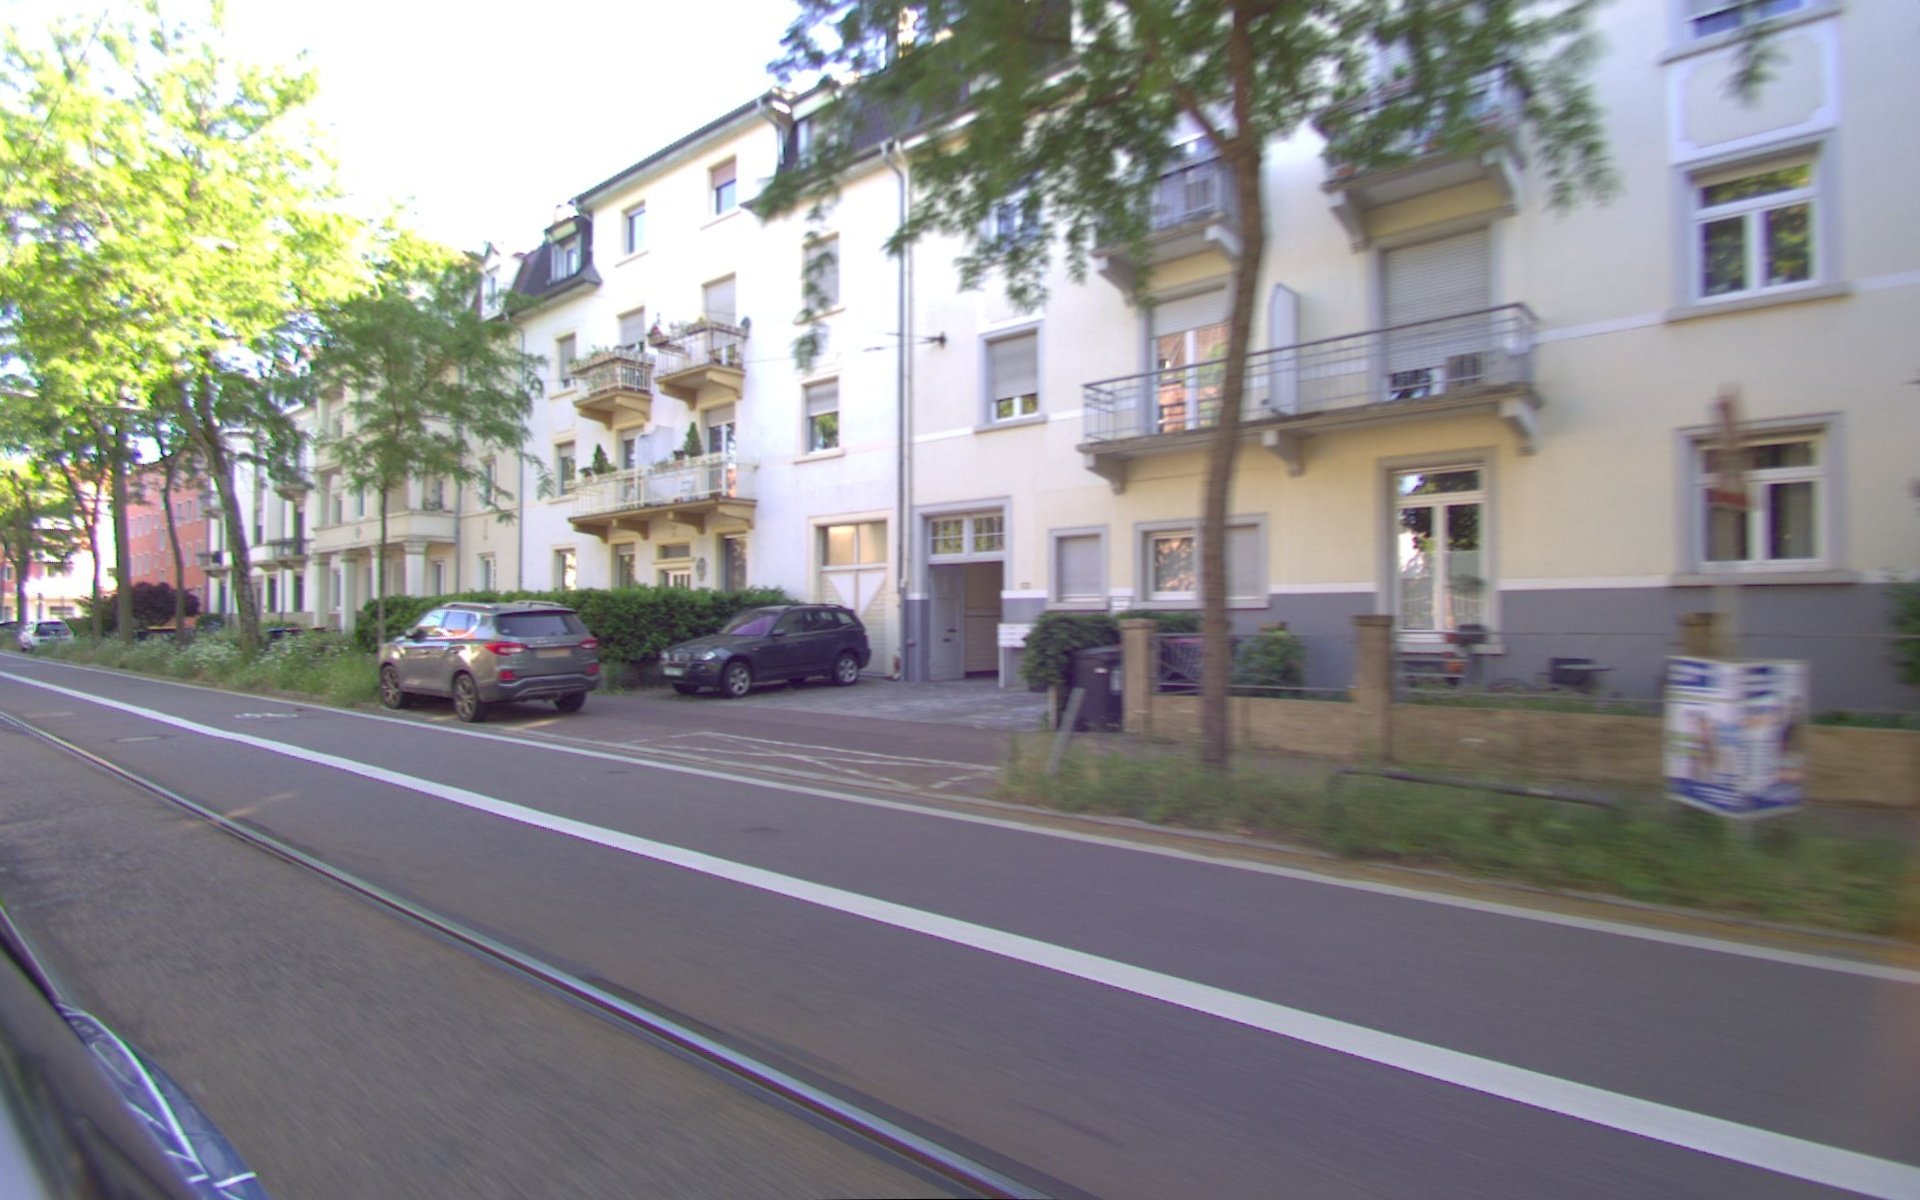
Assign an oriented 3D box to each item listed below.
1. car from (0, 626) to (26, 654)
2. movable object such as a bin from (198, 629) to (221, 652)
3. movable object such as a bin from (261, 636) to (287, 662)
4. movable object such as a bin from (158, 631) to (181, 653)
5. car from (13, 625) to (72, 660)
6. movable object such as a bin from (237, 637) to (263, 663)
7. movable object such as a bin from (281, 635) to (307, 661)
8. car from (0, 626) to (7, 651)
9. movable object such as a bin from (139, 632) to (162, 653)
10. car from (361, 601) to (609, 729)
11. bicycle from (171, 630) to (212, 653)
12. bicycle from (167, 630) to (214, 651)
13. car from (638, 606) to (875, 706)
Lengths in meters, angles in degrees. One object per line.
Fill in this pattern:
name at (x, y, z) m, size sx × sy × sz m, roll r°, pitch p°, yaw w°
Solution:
car at (-53.084, 2.207, 56.076) m, size 3.666 × 1.465 × 1.538 m, roll -1°, pitch -1°, yaw 41°
movable object such as a bin at (-38.561, 2.074, 52.002) m, size 0.895 × 1.122 × 0.730 m, roll -1°, pitch -2°, yaw 41°
movable object such as a bin at (-25.320, 1.799, 37.344) m, size 0.739 × 0.928 × 0.621 m, roll -1°, pitch -1°, yaw 41°
movable object such as a bin at (-39.625, 2.091, 50.715) m, size 0.895 × 1.062 × 0.730 m, roll -1°, pitch -2°, yaw 41°
car at (-44.064, 2.015, 48.583) m, size 3.686 × 1.547 × 1.609 m, roll -1°, pitch -1°, yaw 39°
movable object such as a bin at (-25.916, 1.825, 36.944) m, size 0.739 × 0.928 × 0.621 m, roll -1°, pitch -1°, yaw 41°
movable object such as a bin at (-24.886, 1.777, 37.810) m, size 0.739 × 0.928 × 0.621 m, roll -1°, pitch -1°, yaw 41°
car at (-59.837, 2.373, 61.961) m, size 4.091 × 1.465 × 1.558 m, roll -1°, pitch -1°, yaw 38°
movable object such as a bin at (-40.117, 2.107, 50.153) m, size 0.895 × 1.049 × 0.730 m, roll -1°, pitch -2°, yaw 41°
car at (-8.002, 0.976, 16.829) m, size 4.766 × 1.837 × 1.852 m, roll -1°, pitch -1°, yaw 39°
bicycle at (-35.070, 1.878, 46.199) m, size 0.550 × 1.004 × 1.863 m, roll 0°, pitch -1°, yaw -3°
bicycle at (-36.481, 1.914, 48.001) m, size 0.552 × 1.004 × 1.855 m, roll 0°, pitch -2°, yaw 12°
car at (-3.896, 0.997, 19.911) m, size 1.952 × 1.673 × 4.255 m, roll -1°, pitch 0°, yaw 42°
